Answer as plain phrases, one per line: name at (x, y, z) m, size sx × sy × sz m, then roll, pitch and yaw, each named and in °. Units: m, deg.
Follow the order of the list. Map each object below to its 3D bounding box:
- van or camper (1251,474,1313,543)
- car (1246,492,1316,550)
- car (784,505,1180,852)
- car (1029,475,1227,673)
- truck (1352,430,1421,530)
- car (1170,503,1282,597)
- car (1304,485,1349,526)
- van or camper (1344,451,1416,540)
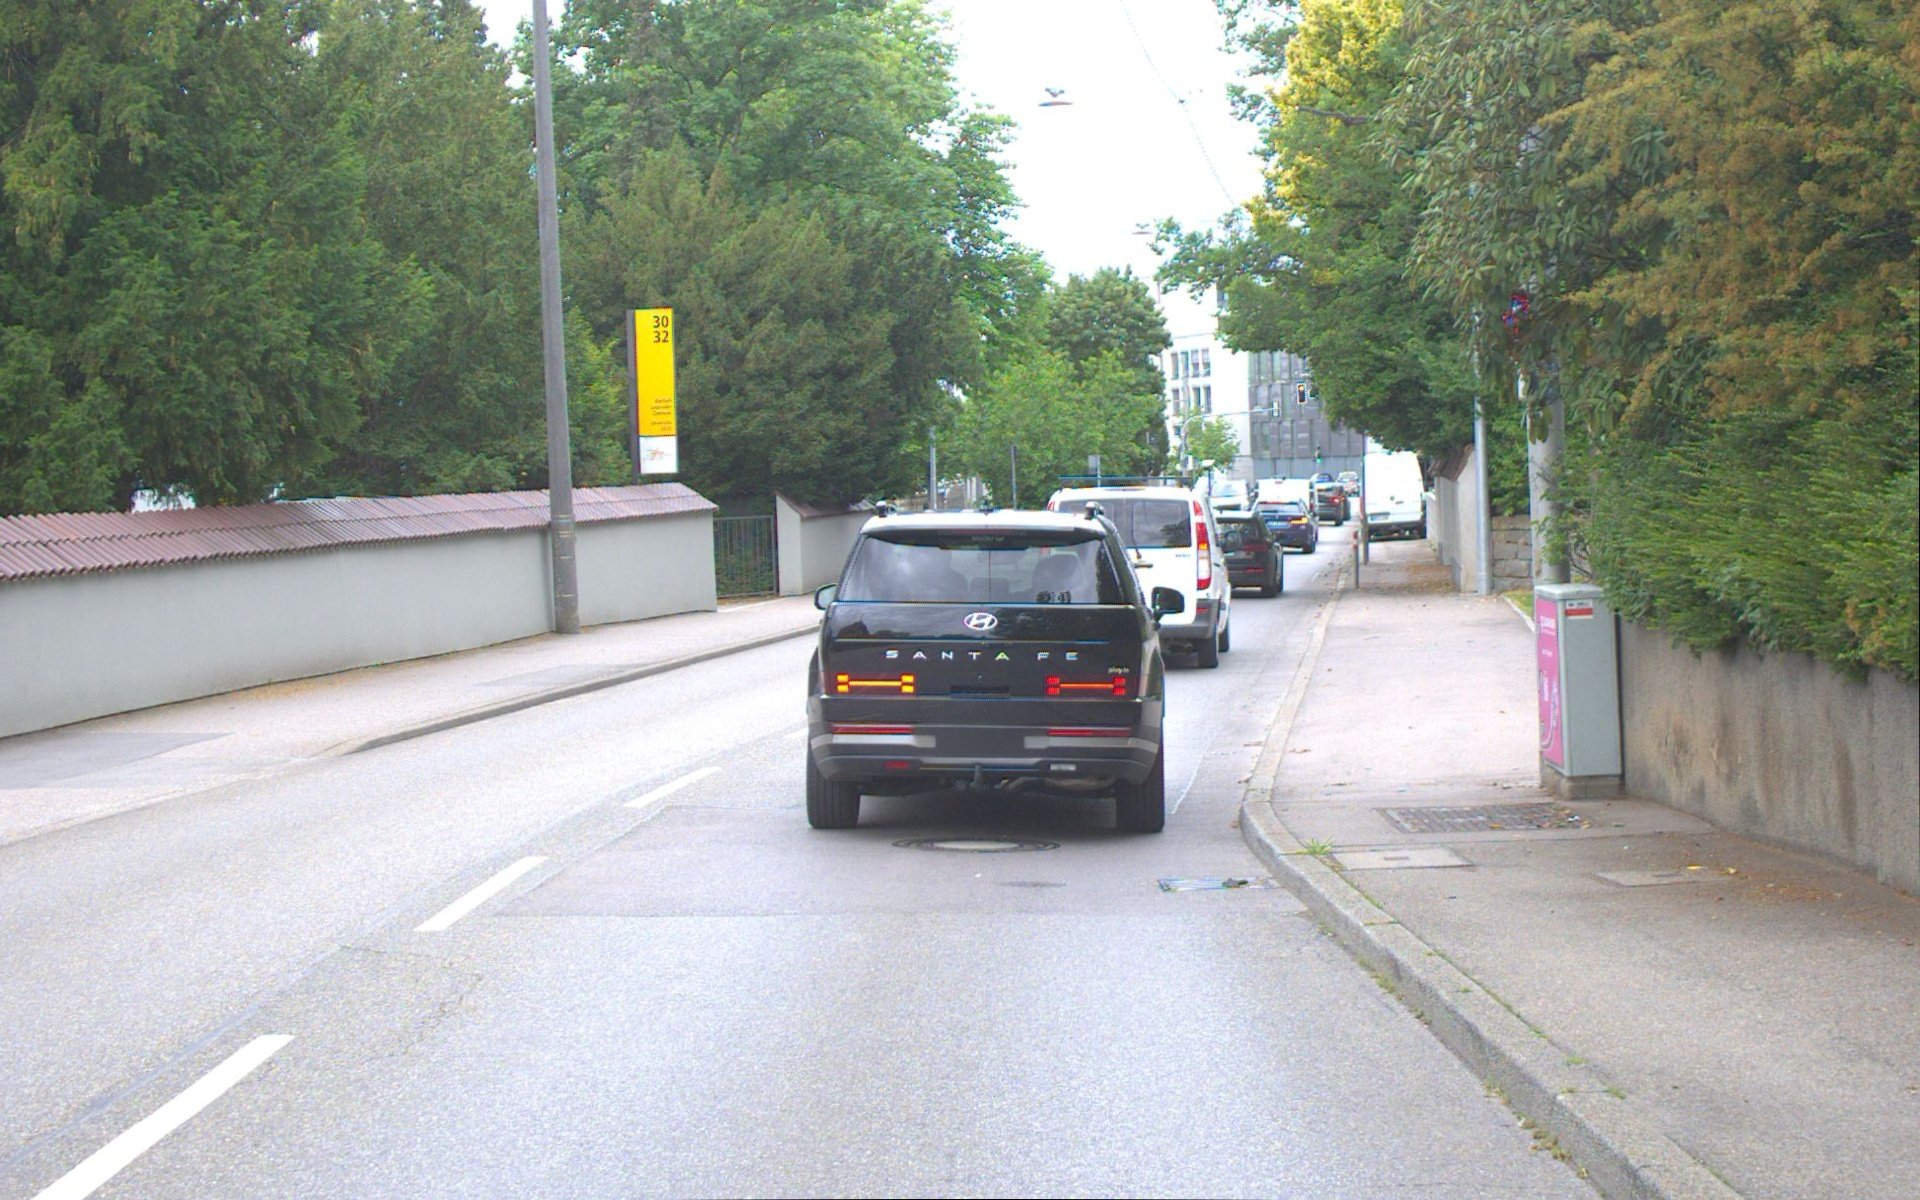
van or camper at (9.849, -2.814, 104.960) m, size 1.676 × 2.000 × 3.937 m, roll -2°, pitch 2°, yaw 7°
car at (8.609, -2.124, 91.975) m, size 1.676 × 1.417 × 3.937 m, roll -2°, pitch 2°, yaw 7°
car at (0.086, 0.358, 19.310) m, size 1.957 × 1.707 × 4.223 m, roll 1°, pitch 1°, yaw -1°
car at (1.859, -0.342, 36.853) m, size 1.957 × 1.949 × 4.223 m, roll 1°, pitch 2°, yaw 5°
truck at (15.411, -4.371, 124.152) m, size 2.281 × 3.427 × 5.975 m, roll -2°, pitch 2°, yaw 7°
car at (4.546, -0.871, 58.404) m, size 1.676 × 1.417 × 3.937 m, roll -2°, pitch 2°, yaw 7°
car at (14.767, -3.810, 138.268) m, size 1.676 × 1.536 × 3.937 m, roll -2°, pitch 2°, yaw 7°
van or camper at (12.834, -3.226, 104.954) m, size 2.044 × 2.569 × 5.248 m, roll -2°, pitch 2°, yaw 7°
